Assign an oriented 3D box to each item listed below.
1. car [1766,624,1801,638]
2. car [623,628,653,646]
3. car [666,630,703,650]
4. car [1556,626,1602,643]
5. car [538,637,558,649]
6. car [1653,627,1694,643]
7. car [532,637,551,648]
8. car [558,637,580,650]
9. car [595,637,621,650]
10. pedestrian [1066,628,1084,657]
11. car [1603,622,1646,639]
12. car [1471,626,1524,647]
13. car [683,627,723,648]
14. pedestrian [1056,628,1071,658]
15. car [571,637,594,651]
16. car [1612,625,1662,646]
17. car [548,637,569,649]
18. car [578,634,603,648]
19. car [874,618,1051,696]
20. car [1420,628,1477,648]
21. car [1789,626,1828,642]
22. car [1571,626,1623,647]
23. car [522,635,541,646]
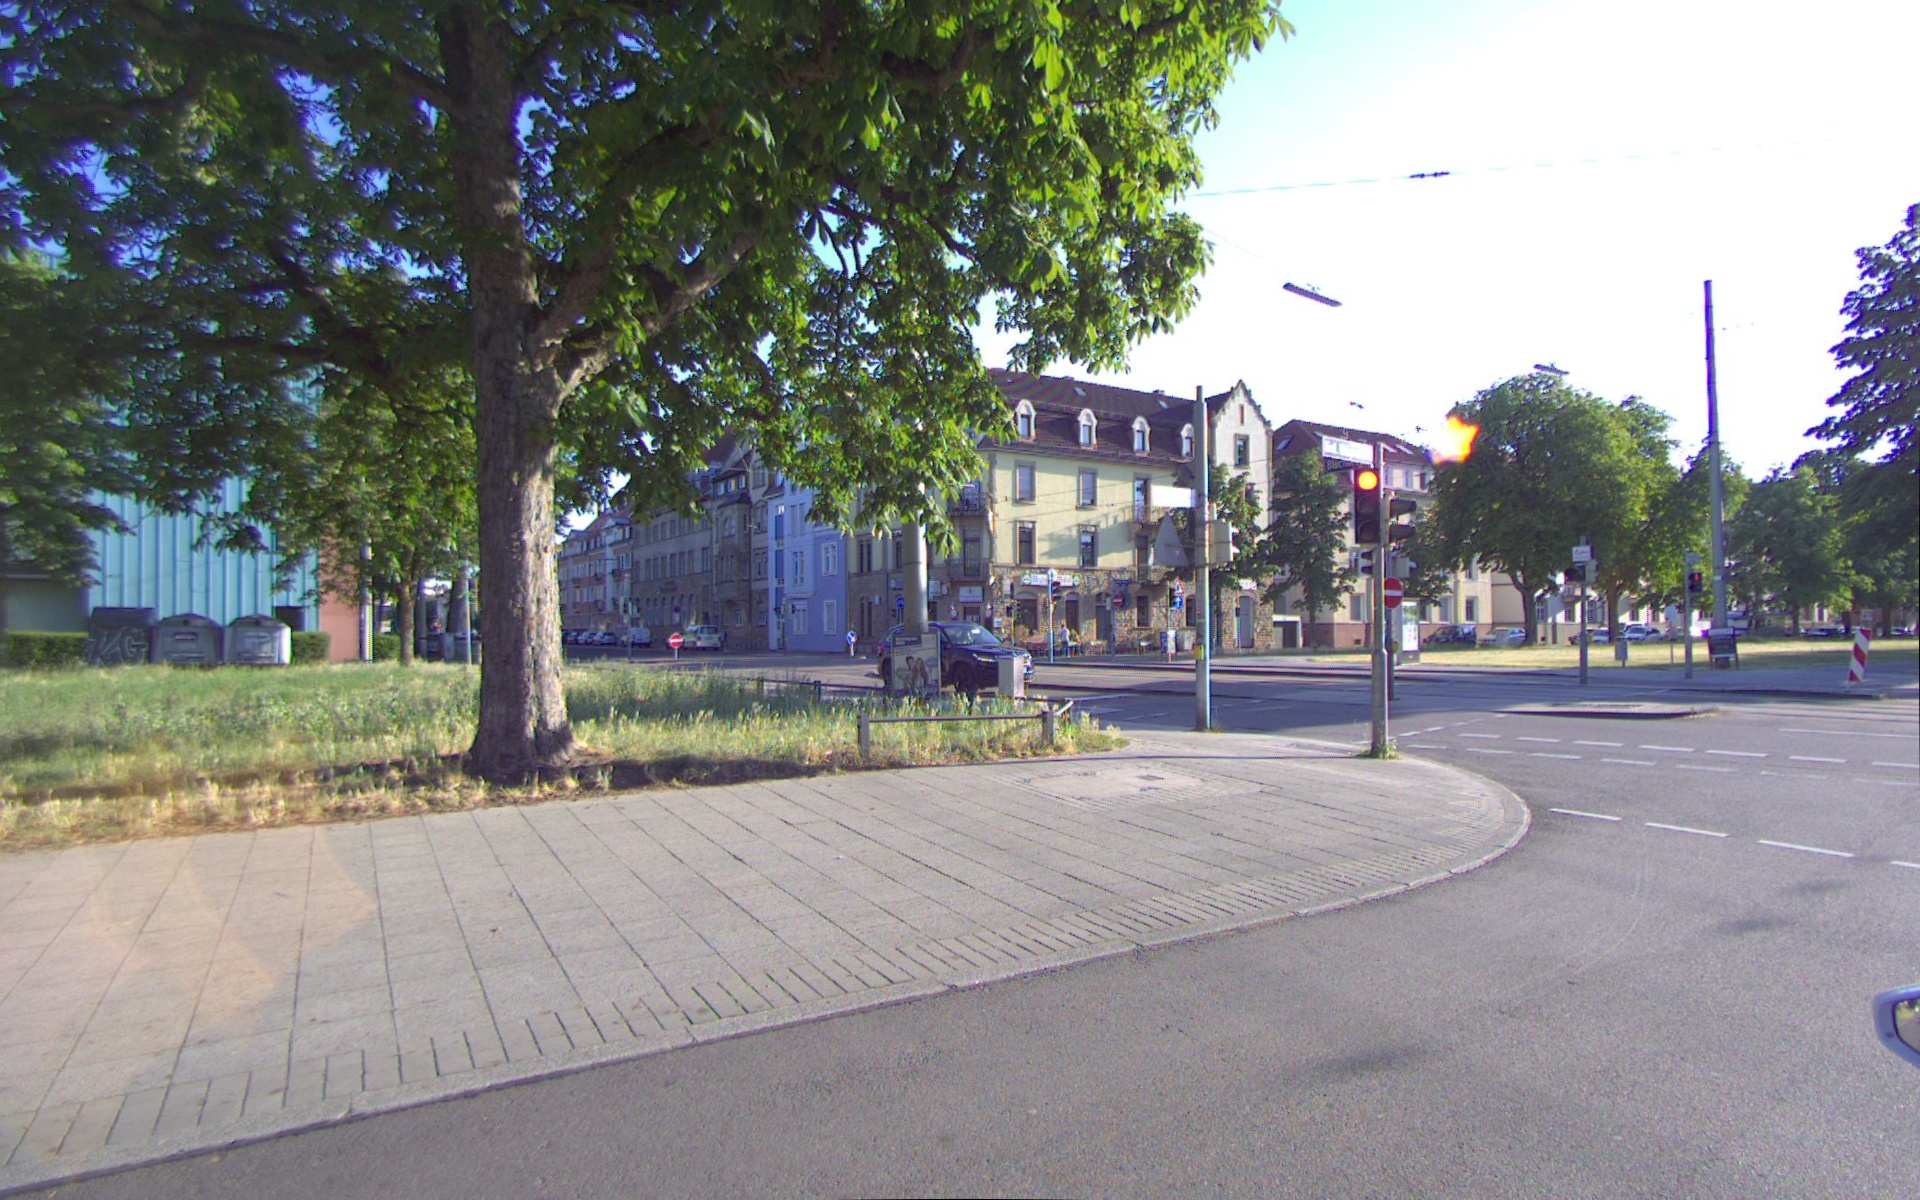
[{"bbox_3d":[86.183,3.214,105.119,3.749,1.446,1.729,1,-1,-31],"label":"car"},{"bbox_3d":[-30.147,3.474,94.083,1.888,1.610,4.013,2,-2,-29],"label":"car"},{"bbox_3d":[-22.798,3.305,83.117,2.074,1.612,4.014,2,-2,-29],"label":"car"},{"bbox_3d":[52.006,2.897,84.365,3.749,1.446,1.729,1,-2,-31],"label":"car"},{"bbox_3d":[-52.098,5.460,127.056,1.867,1.433,4.013,1,-2,-29],"label":"car"},{"bbox_3d":[65.855,3.249,92.720,3.749,1.446,1.729,1,-2,-31],"label":"car"},{"bbox_3d":[-54.583,5.536,130.998,1.867,1.433,4.013,1,-2,-29],"label":"car"},{"bbox_3d":[-45.906,5.093,117.874,1.867,1.433,4.013,1,-2,-29],"label":"car"},{"bbox_3d":[-36.435,4.458,103.879,1.867,1.299,4.013,1,-2,-29],"label":"car"},{"bbox_3d":[6.542,2.406,57.127,0.715,1.664,0.811,0,-1,-23],"label":"pedestrian"},{"bbox_3d":[57.491,2.608,86.886,3.749,1.446,1.729,1,-1,-31],"label":"car"},{"bbox_3d":[40.790,2.788,76.231,3.741,1.446,1.733,-1,0,-26],"label":"car"},{"bbox_3d":[-20.116,2.910,78.399,2.074,1.612,4.014,2,-2,-29],"label":"car"},{"bbox_3d":[5.797,2.382,56.196,0.711,1.664,0.816,-1,-1,18],"label":"pedestrian"},{"bbox_3d":[-42.629,4.945,113.523,1.867,1.433,4.013,1,-2,-29],"label":"car"},{"bbox_3d":[51.363,2.694,76.144,3.748,1.446,1.729,-1,0,-31],"label":"car"},{"bbox_3d":[-48.939,5.214,122.384,1.867,1.433,4.013,1,-2,-29],"label":"car"},{"bbox_3d":[-39.892,4.445,108.405,1.867,1.433,4.013,1,-2,-29],"label":"car"},{"bbox_3d":[-0.056,1.338,23.943,1.862,1.685,4.515,1,-3,-37],"label":"car"},{"bbox_3d":[35.443,2.737,72.879,3.741,1.416,1.733,1,-2,-26],"label":"car"},{"bbox_3d":[80.220,3.191,94.965,3.749,1.446,1.729,1,-1,-31],"label":"car"},{"bbox_3d":[46.265,2.616,72.919,3.749,1.446,1.729,0,-1,-31],"label":"car"},{"bbox_3d":[-57.572,5.478,134.909,1.867,1.433,4.013,1,-2,-29],"label":"car"}]
